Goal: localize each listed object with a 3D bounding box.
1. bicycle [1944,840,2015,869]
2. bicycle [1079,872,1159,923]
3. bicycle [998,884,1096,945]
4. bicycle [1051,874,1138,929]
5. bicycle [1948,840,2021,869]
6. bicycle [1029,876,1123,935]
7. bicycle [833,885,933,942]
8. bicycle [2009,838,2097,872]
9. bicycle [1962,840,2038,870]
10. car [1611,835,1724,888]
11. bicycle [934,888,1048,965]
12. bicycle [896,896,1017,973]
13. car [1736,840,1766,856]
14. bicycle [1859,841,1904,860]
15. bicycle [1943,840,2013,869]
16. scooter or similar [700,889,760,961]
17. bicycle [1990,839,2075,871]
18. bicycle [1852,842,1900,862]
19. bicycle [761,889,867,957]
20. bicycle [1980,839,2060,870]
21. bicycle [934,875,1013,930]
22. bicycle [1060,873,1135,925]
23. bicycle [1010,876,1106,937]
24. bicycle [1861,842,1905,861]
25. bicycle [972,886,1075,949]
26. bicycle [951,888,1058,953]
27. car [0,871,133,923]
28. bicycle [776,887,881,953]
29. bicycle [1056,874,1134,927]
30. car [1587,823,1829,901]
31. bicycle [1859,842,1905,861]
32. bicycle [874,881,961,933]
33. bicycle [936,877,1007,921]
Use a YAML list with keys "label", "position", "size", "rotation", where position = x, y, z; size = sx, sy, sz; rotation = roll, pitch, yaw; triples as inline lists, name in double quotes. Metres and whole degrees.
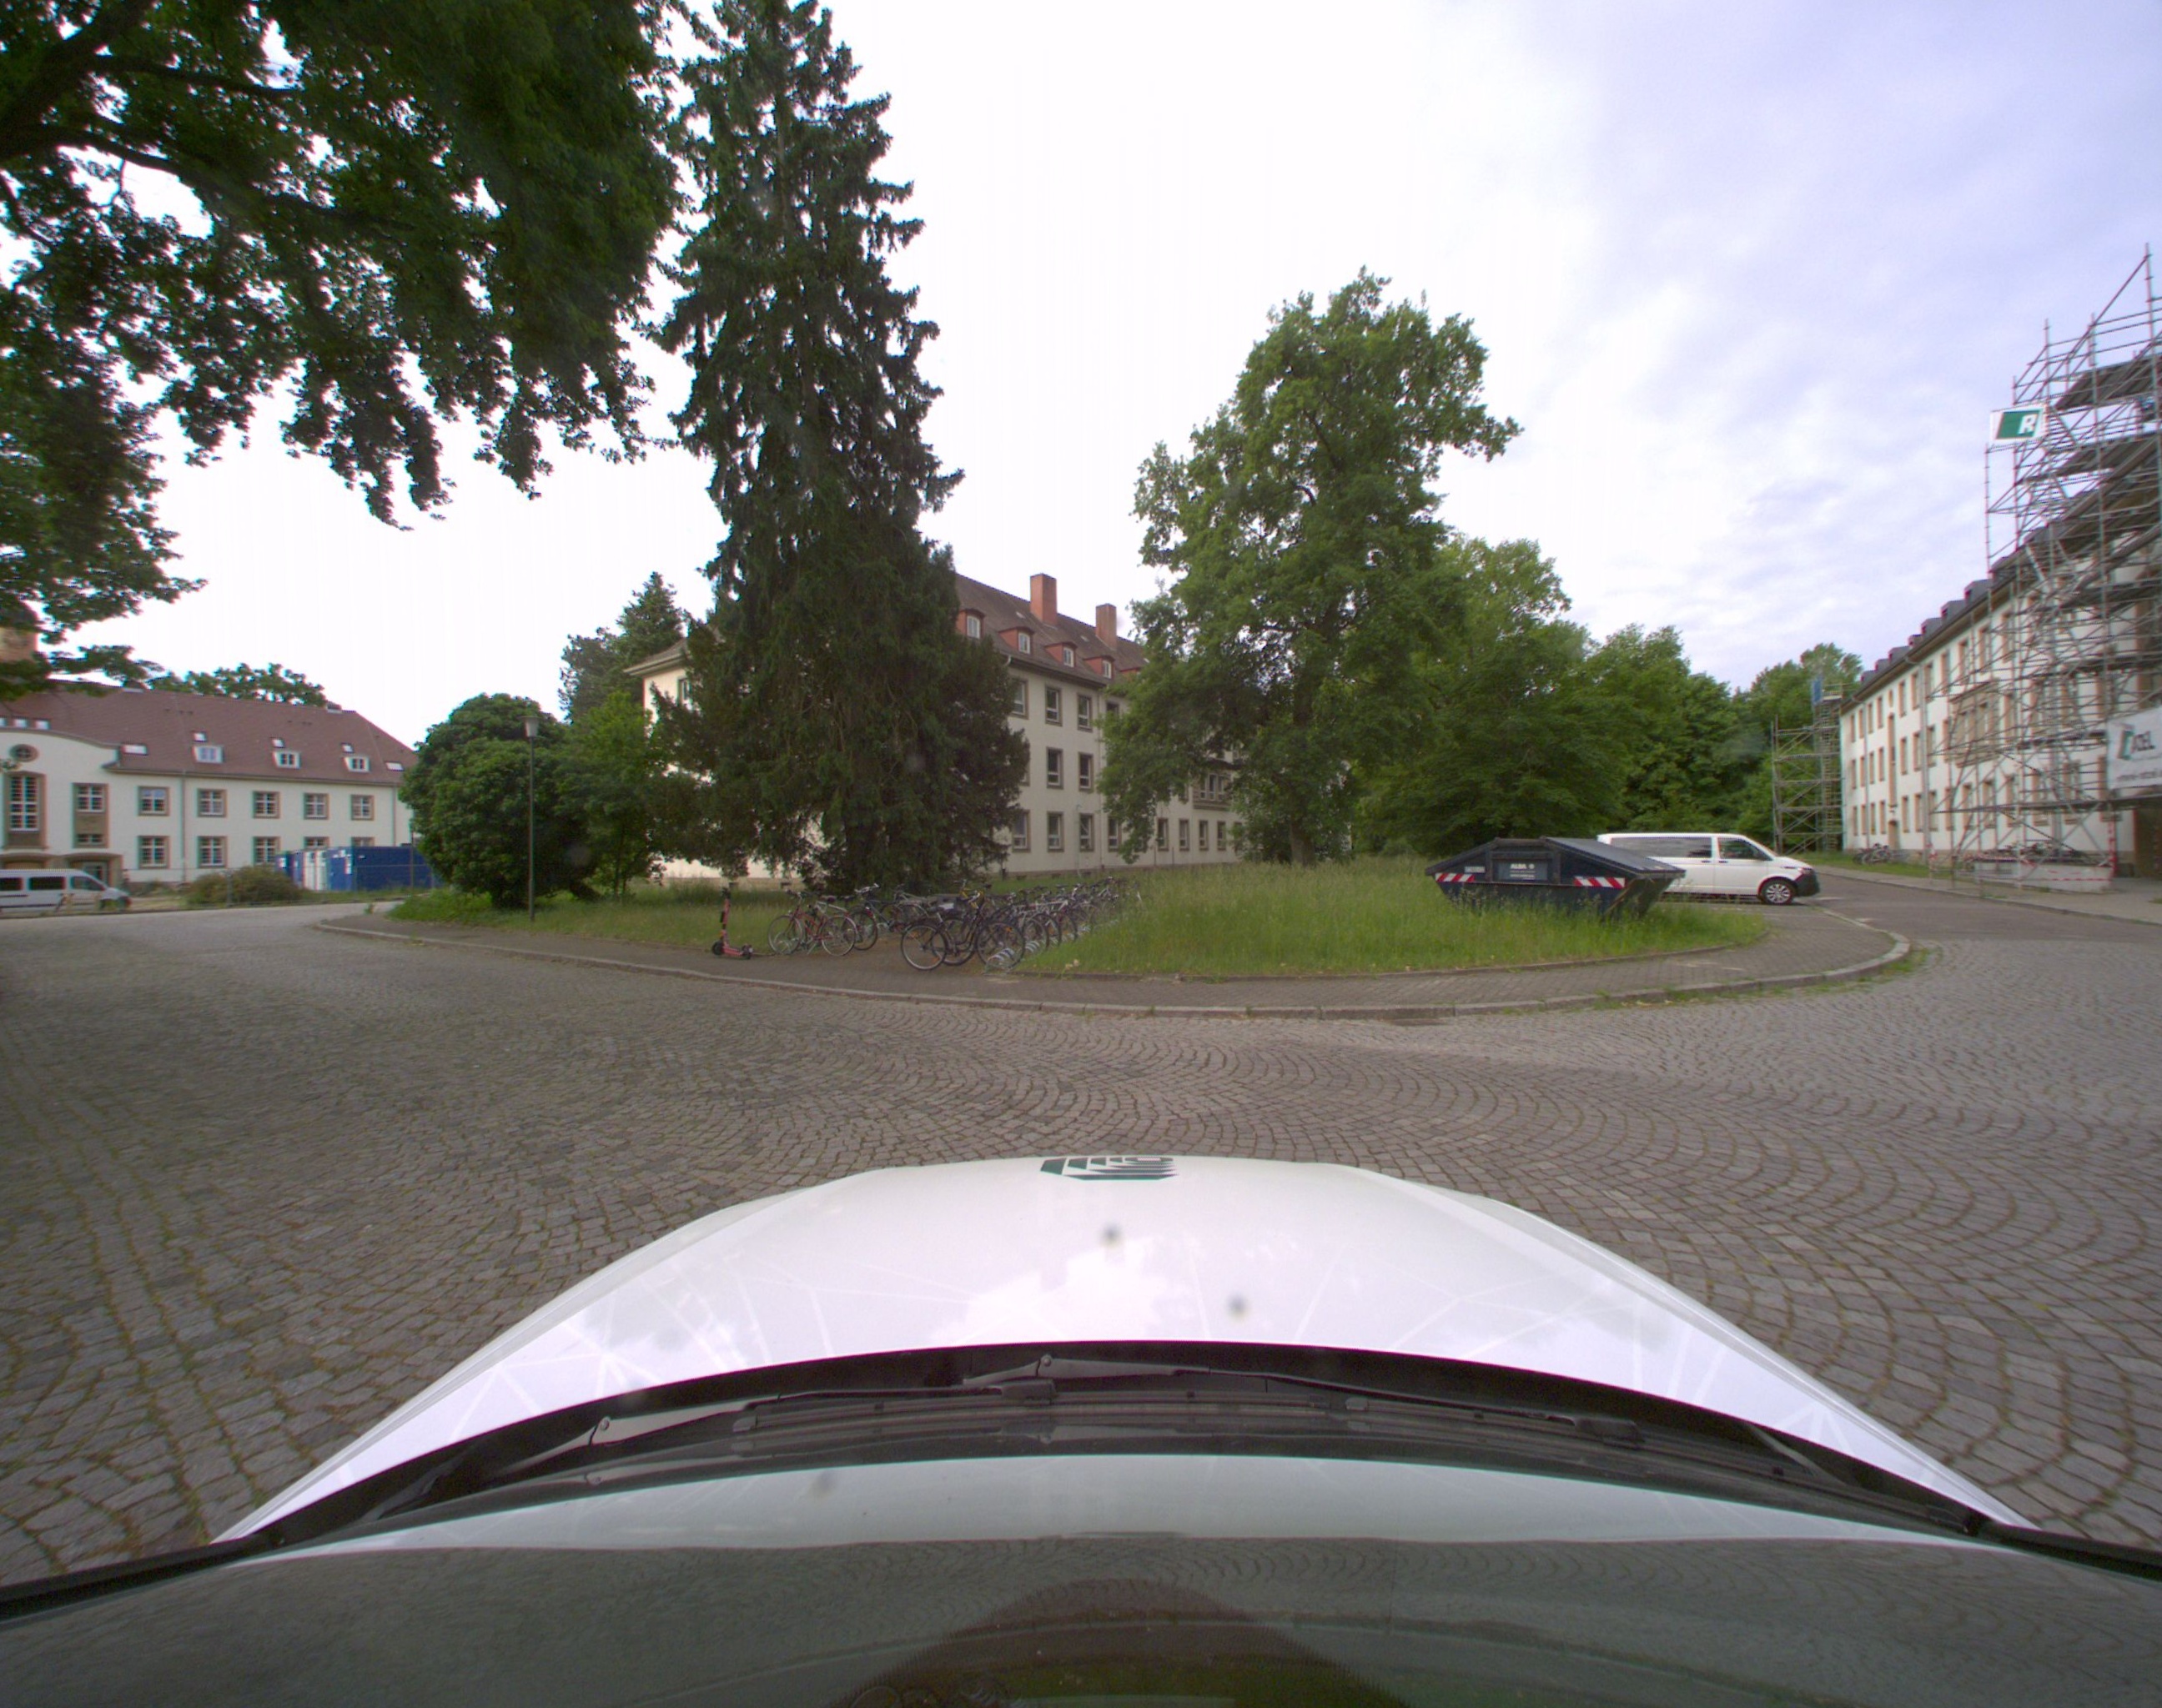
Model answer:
- label: "bicycle"
  position: [35.436, 0.029, 32.153]
  size: [1.838, 1.095, 0.514]
  rotation: [-2, -1, 43]
- label: "bicycle"
  position: [0.870, 0.996, 18.641]
  size: [1.745, 1.112, 0.480]
  rotation: [-1, -1, 19]
- label: "bicycle"
  position: [-0.604, 1.087, 14.585]
  size: [1.648, 1.008, 0.480]
  rotation: [-3, -1, 19]
- label: "bicycle"
  position: [0.283, 0.999, 17.221]
  size: [1.745, 1.112, 0.480]
  rotation: [-1, -1, 19]
- label: "bicycle"
  position: [35.158, 0.031, 31.712]
  size: [1.838, 1.095, 0.514]
  rotation: [-2, -1, 43]
- label: "bicycle"
  position: [-0.101, 1.000, 15.960]
  size: [1.747, 1.112, 0.479]
  rotation: [-1, -1, 13]
- label: "bicycle"
  position: [-3.931, 1.176, 16.209]
  size: [1.808, 1.065, 0.620]
  rotation: [-1, -1, 10]
- label: "bicycle"
  position: [32.947, 0.043, 27.645]
  size: [1.838, 1.095, 0.514]
  rotation: [-2, -1, 43]
- label: "bicycle"
  position: [34.382, 0.036, 30.500]
  size: [1.838, 1.095, 0.514]
  rotation: [-2, -1, 43]
- label: "car"
  position: [21.289, 0.277, 29.669]
  size: [3.207, 1.844, 1.614]
  rotation: [-2, 0, 35]
- label: "bicycle"
  position: [-1.350, 1.085, 12.326]
  size: [1.610, 1.074, 0.478]
  rotation: [-3, -1, 4]
- label: "bicycle"
  position: [-1.784, 1.155, 11.759]
  size: [1.610, 1.008, 0.478]
  rotation: [-3, -1, 4]
- label: "car"
  position: [58.754, -0.538, 71.438]
  size: [1.563, 1.371, 3.978]
  rotation: [-2, 0, 33]
- label: "bicycle"
  position: [47.676, -0.181, 48.521]
  size: [1.838, 1.095, 0.514]
  rotation: [-2, -1, 43]
- label: "bicycle"
  position: [35.747, 0.026, 32.486]
  size: [1.838, 1.095, 0.514]
  rotation: [-2, -1, 43]
- label: "scooter or similar"
  position: [-6.149, 1.222, 14.257]
  size: [1.123, 1.210, 0.360]
  rotation: [-2, -1, 31]
- label: "bicycle"
  position: [33.009, 0.044, 28.278]
  size: [1.838, 1.095, 0.514]
  rotation: [-2, -1, 43]
- label: "bicycle"
  position: [45.183, -0.105, 46.295]
  size: [0.513, 1.095, 1.843]
  rotation: [-1, -1, -32]
- label: "bicycle"
  position: [-4.666, 1.196, 14.239]
  size: [1.750, 1.114, 0.554]
  rotation: [-1, -1, 17]
- label: "bicycle"
  position: [34.012, 0.037, 29.534]
  size: [1.838, 1.095, 0.514]
  rotation: [-2, -1, 43]
- label: "bicycle"
  position: [-2.407, 1.069, 18.177]
  size: [1.732, 1.171, 0.555]
  rotation: [-1, -1, 27]
- label: "bicycle"
  position: [0.364, 1.007, 18.247]
  size: [1.631, 1.112, 0.445]
  rotation: [-1, -1, 25]
- label: "bicycle"
  position: [-0.448, 1.002, 15.546]
  size: [1.745, 1.112, 0.480]
  rotation: [-1, -1, 19]
- label: "bicycle"
  position: [48.298, -0.142, 49.055]
  size: [1.838, 1.095, 0.514]
  rotation: [-2, -1, 43]
- label: "bicycle"
  position: [-0.989, 1.089, 13.904]
  size: [1.648, 1.008, 0.480]
  rotation: [-3, -1, 19]
- label: "bicycle"
  position: [-1.259, 1.090, 13.339]
  size: [1.648, 1.008, 0.480]
  rotation: [-3, -1, 19]
- label: "car"
  position: [-51.666, 2.124, 40.776]
  size: [1.885, 2.344, 5.314]
  rotation: [-2, 0, 37]
- label: "bicycle"
  position: [-4.567, 1.183, 14.727]
  size: [1.785, 1.114, 0.554]
  rotation: [-1, -1, 17]
- label: "bicycle"
  position: [0.291, 1.007, 17.691]
  size: [1.631, 1.112, 0.445]
  rotation: [-1, -1, 25]
- label: "car"
  position: [17.558, 0.239, 23.163]
  size: [5.208, 1.996, 1.981]
  rotation: [-2, 0, 35]
- label: "bicycle"
  position: [46.711, -0.130, 47.510]
  size: [0.513, 1.095, 1.843]
  rotation: [-1, -1, -32]
- label: "bicycle"
  position: [-3.545, 1.143, 17.646]
  size: [1.737, 1.065, 0.553]
  rotation: [-1, -1, 10]
- label: "bicycle"
  position: [-2.709, 1.102, 20.182]
  size: [1.663, 1.042, 0.554]
  rotation: [-1, -1, 21]
